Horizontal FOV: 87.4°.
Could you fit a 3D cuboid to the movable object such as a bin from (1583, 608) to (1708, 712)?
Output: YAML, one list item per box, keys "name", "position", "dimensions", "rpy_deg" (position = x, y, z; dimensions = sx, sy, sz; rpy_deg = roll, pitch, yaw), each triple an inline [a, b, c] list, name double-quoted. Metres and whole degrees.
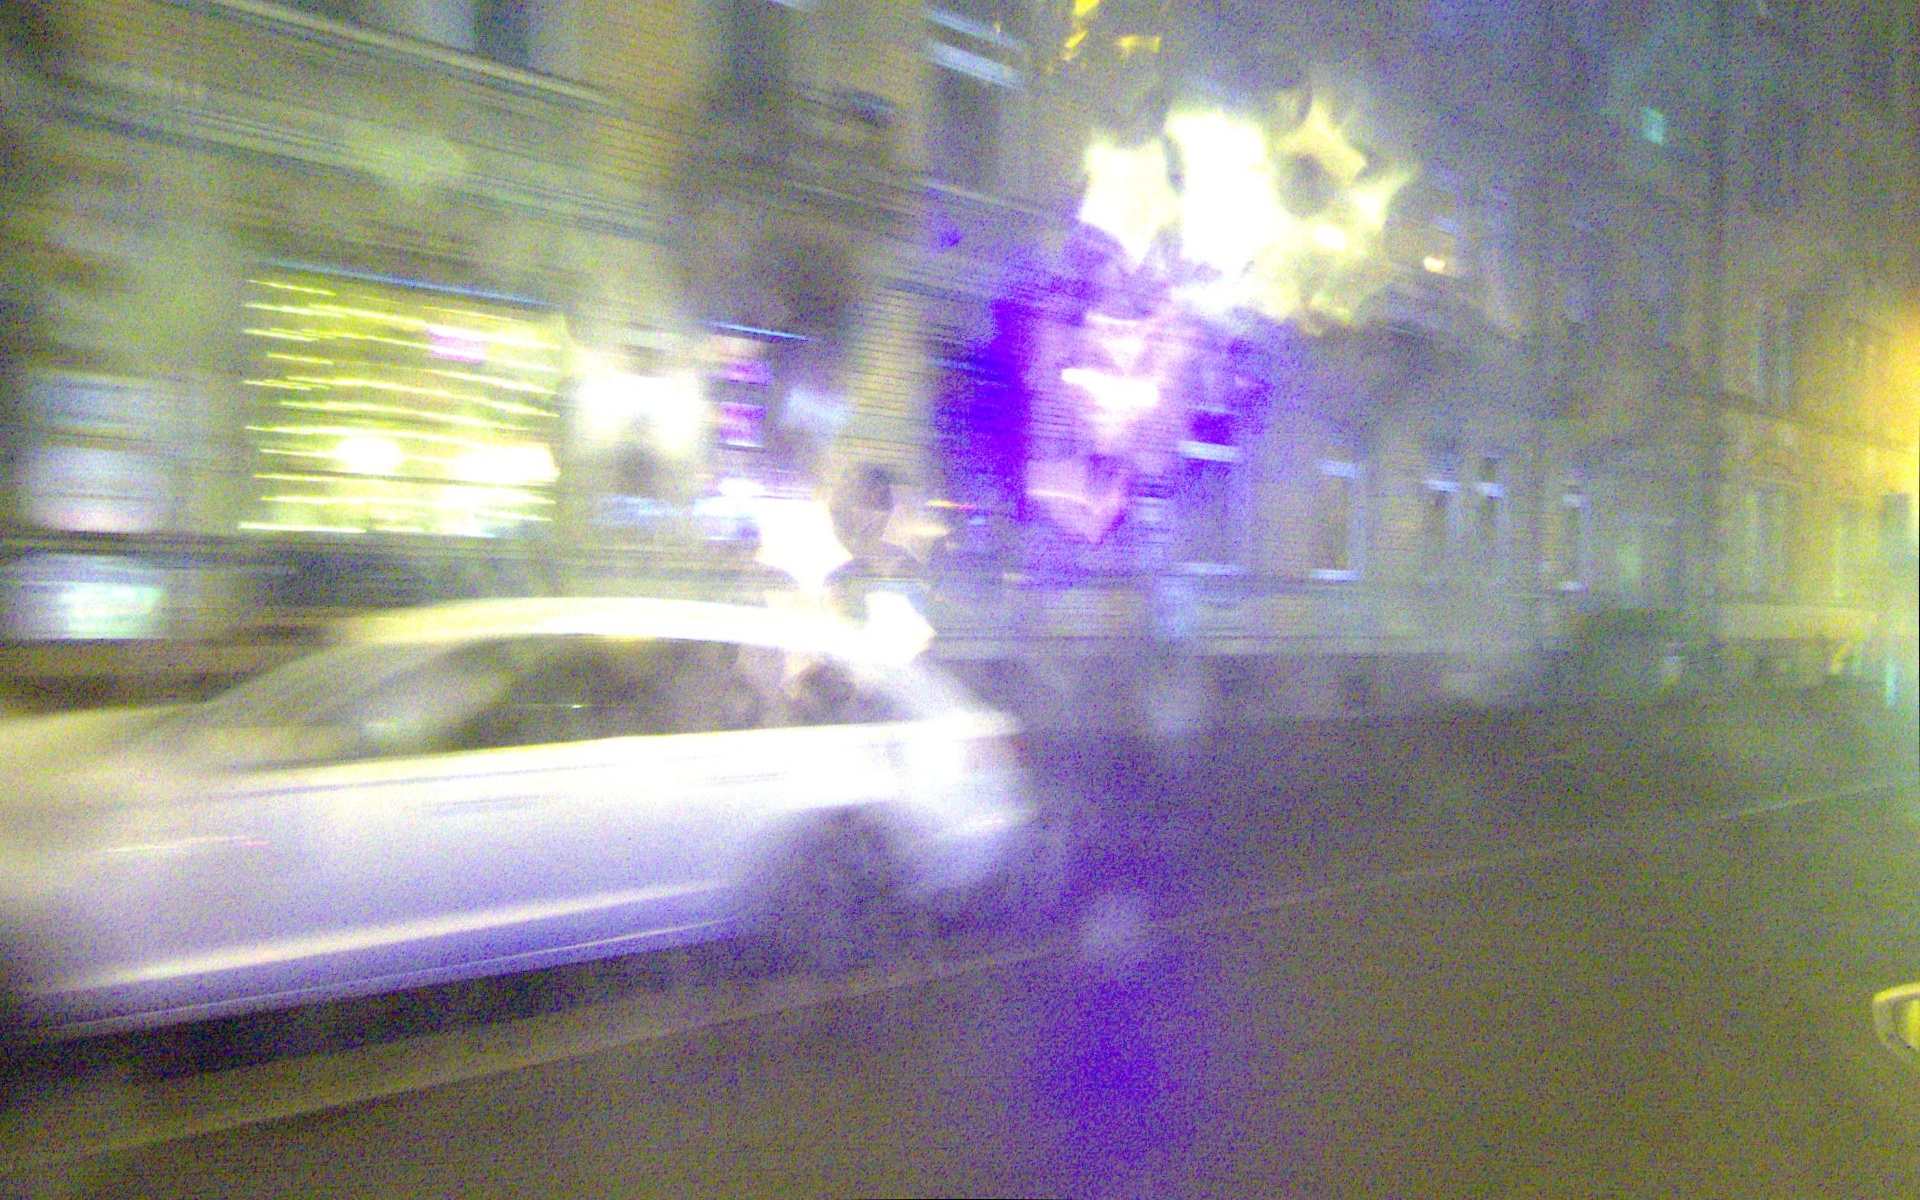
- name: "movable object such as a bin"
  position: [10.259, 0.864, 15.043]
  dimensions: [1.363, 1.473, 1.095]
  rpy_deg: [1, -1, -32]

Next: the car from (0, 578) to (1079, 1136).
- name: "car"
  position: [-1.950, 0.728, 4.222]
  dimensions: [4.714, 1.503, 1.759]
  rpy_deg: [1, 3, -30]
